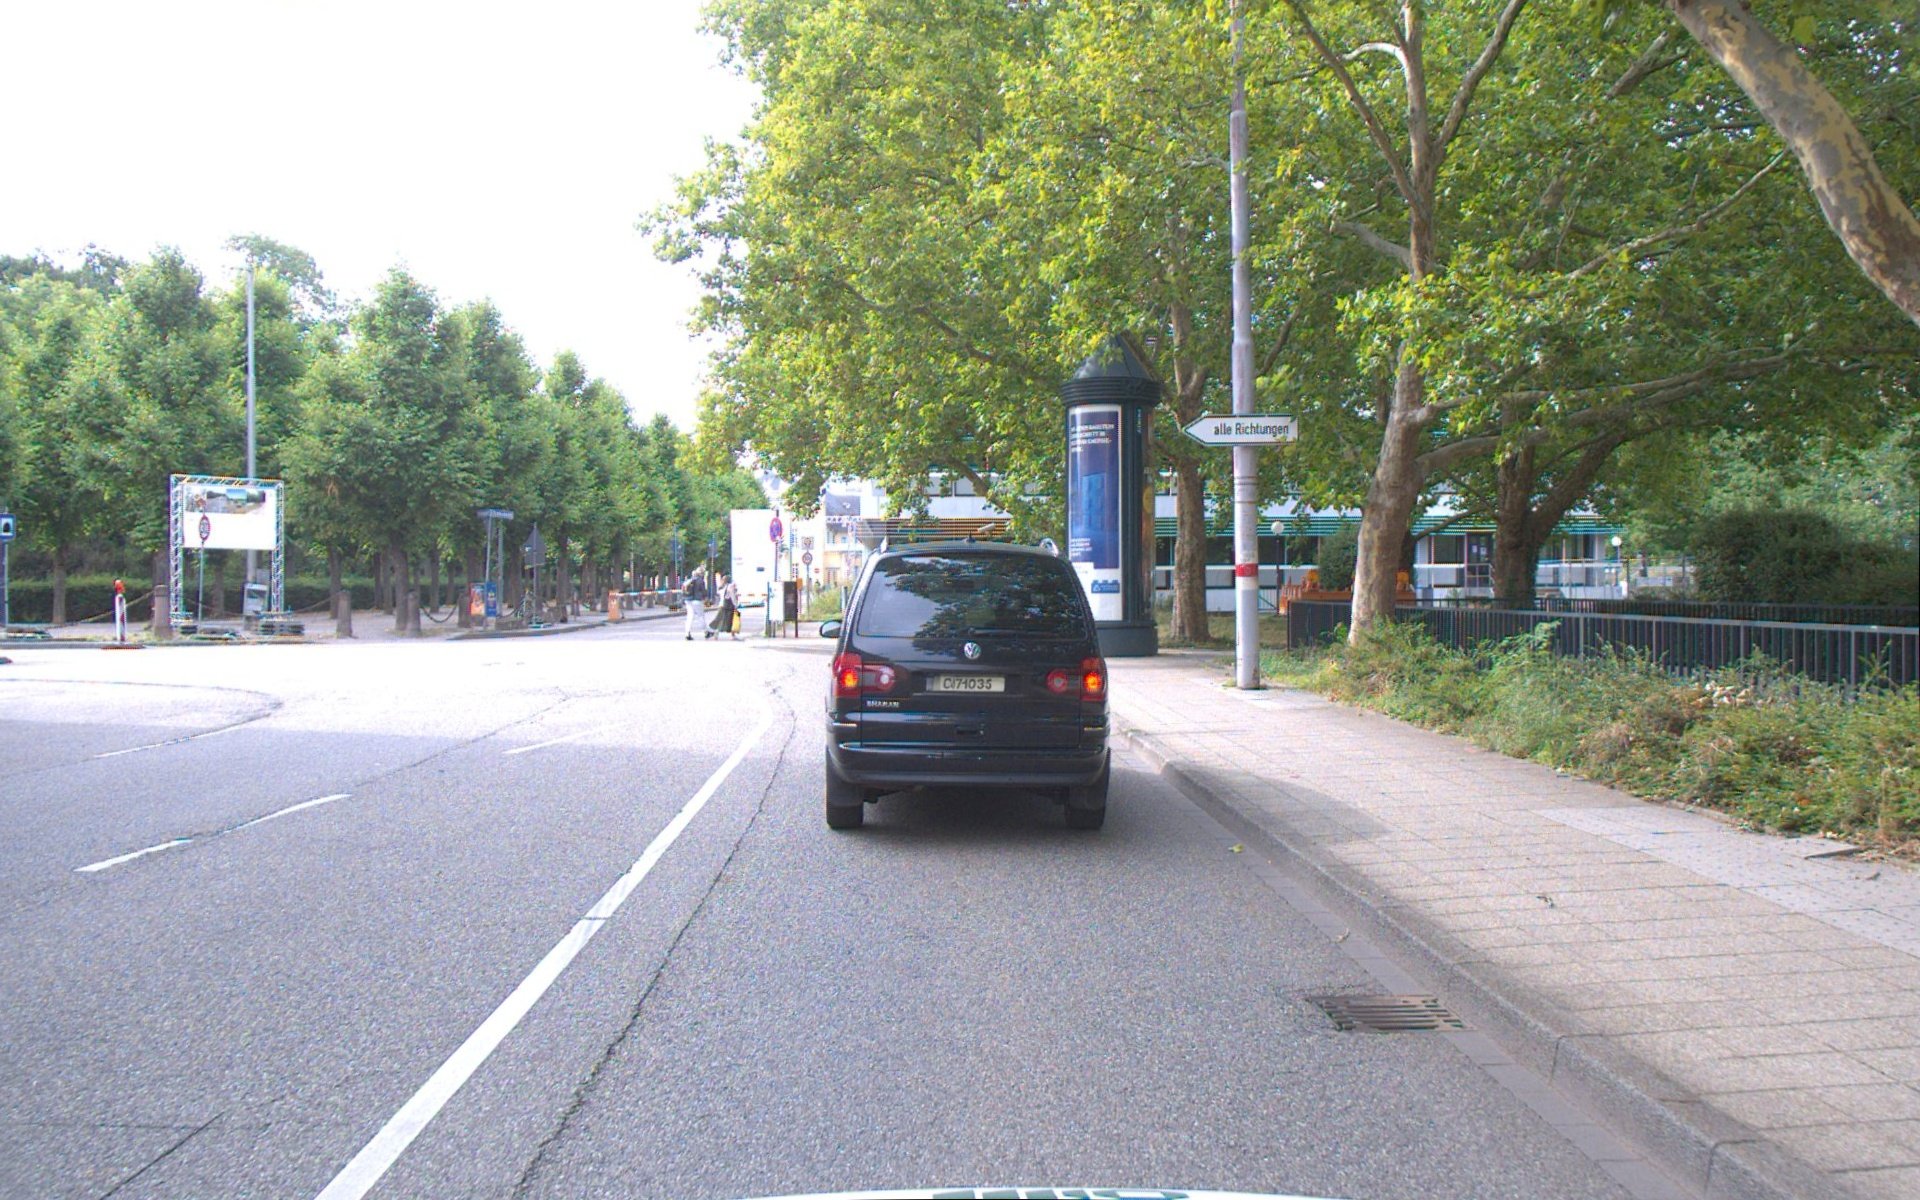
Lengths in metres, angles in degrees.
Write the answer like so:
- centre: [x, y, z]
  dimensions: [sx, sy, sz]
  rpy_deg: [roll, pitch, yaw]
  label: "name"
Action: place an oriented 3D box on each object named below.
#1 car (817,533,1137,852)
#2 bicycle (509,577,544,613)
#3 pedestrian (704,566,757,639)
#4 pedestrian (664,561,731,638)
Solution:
- centre: [0.015, 0.474, 11.203]
  dimensions: [1.757, 1.738, 4.129]
  rpy_deg: [-1, 1, -2]
  label: "car"
- centre: [-14.394, -0.180, 54.851]
  dimensions: [0.938, 1.129, 2.565]
  rpy_deg: [1, 1, -19]
  label: "bicycle"
- centre: [-5.397, 0.048, 38.931]
  dimensions: [0.880, 1.670, 0.850]
  rpy_deg: [2, 1, 33]
  label: "pedestrian"
- centre: [-6.231, -0.013, 39.279]
  dimensions: [0.944, 1.772, 1.251]
  rpy_deg: [2, 1, 36]
  label: "pedestrian"
